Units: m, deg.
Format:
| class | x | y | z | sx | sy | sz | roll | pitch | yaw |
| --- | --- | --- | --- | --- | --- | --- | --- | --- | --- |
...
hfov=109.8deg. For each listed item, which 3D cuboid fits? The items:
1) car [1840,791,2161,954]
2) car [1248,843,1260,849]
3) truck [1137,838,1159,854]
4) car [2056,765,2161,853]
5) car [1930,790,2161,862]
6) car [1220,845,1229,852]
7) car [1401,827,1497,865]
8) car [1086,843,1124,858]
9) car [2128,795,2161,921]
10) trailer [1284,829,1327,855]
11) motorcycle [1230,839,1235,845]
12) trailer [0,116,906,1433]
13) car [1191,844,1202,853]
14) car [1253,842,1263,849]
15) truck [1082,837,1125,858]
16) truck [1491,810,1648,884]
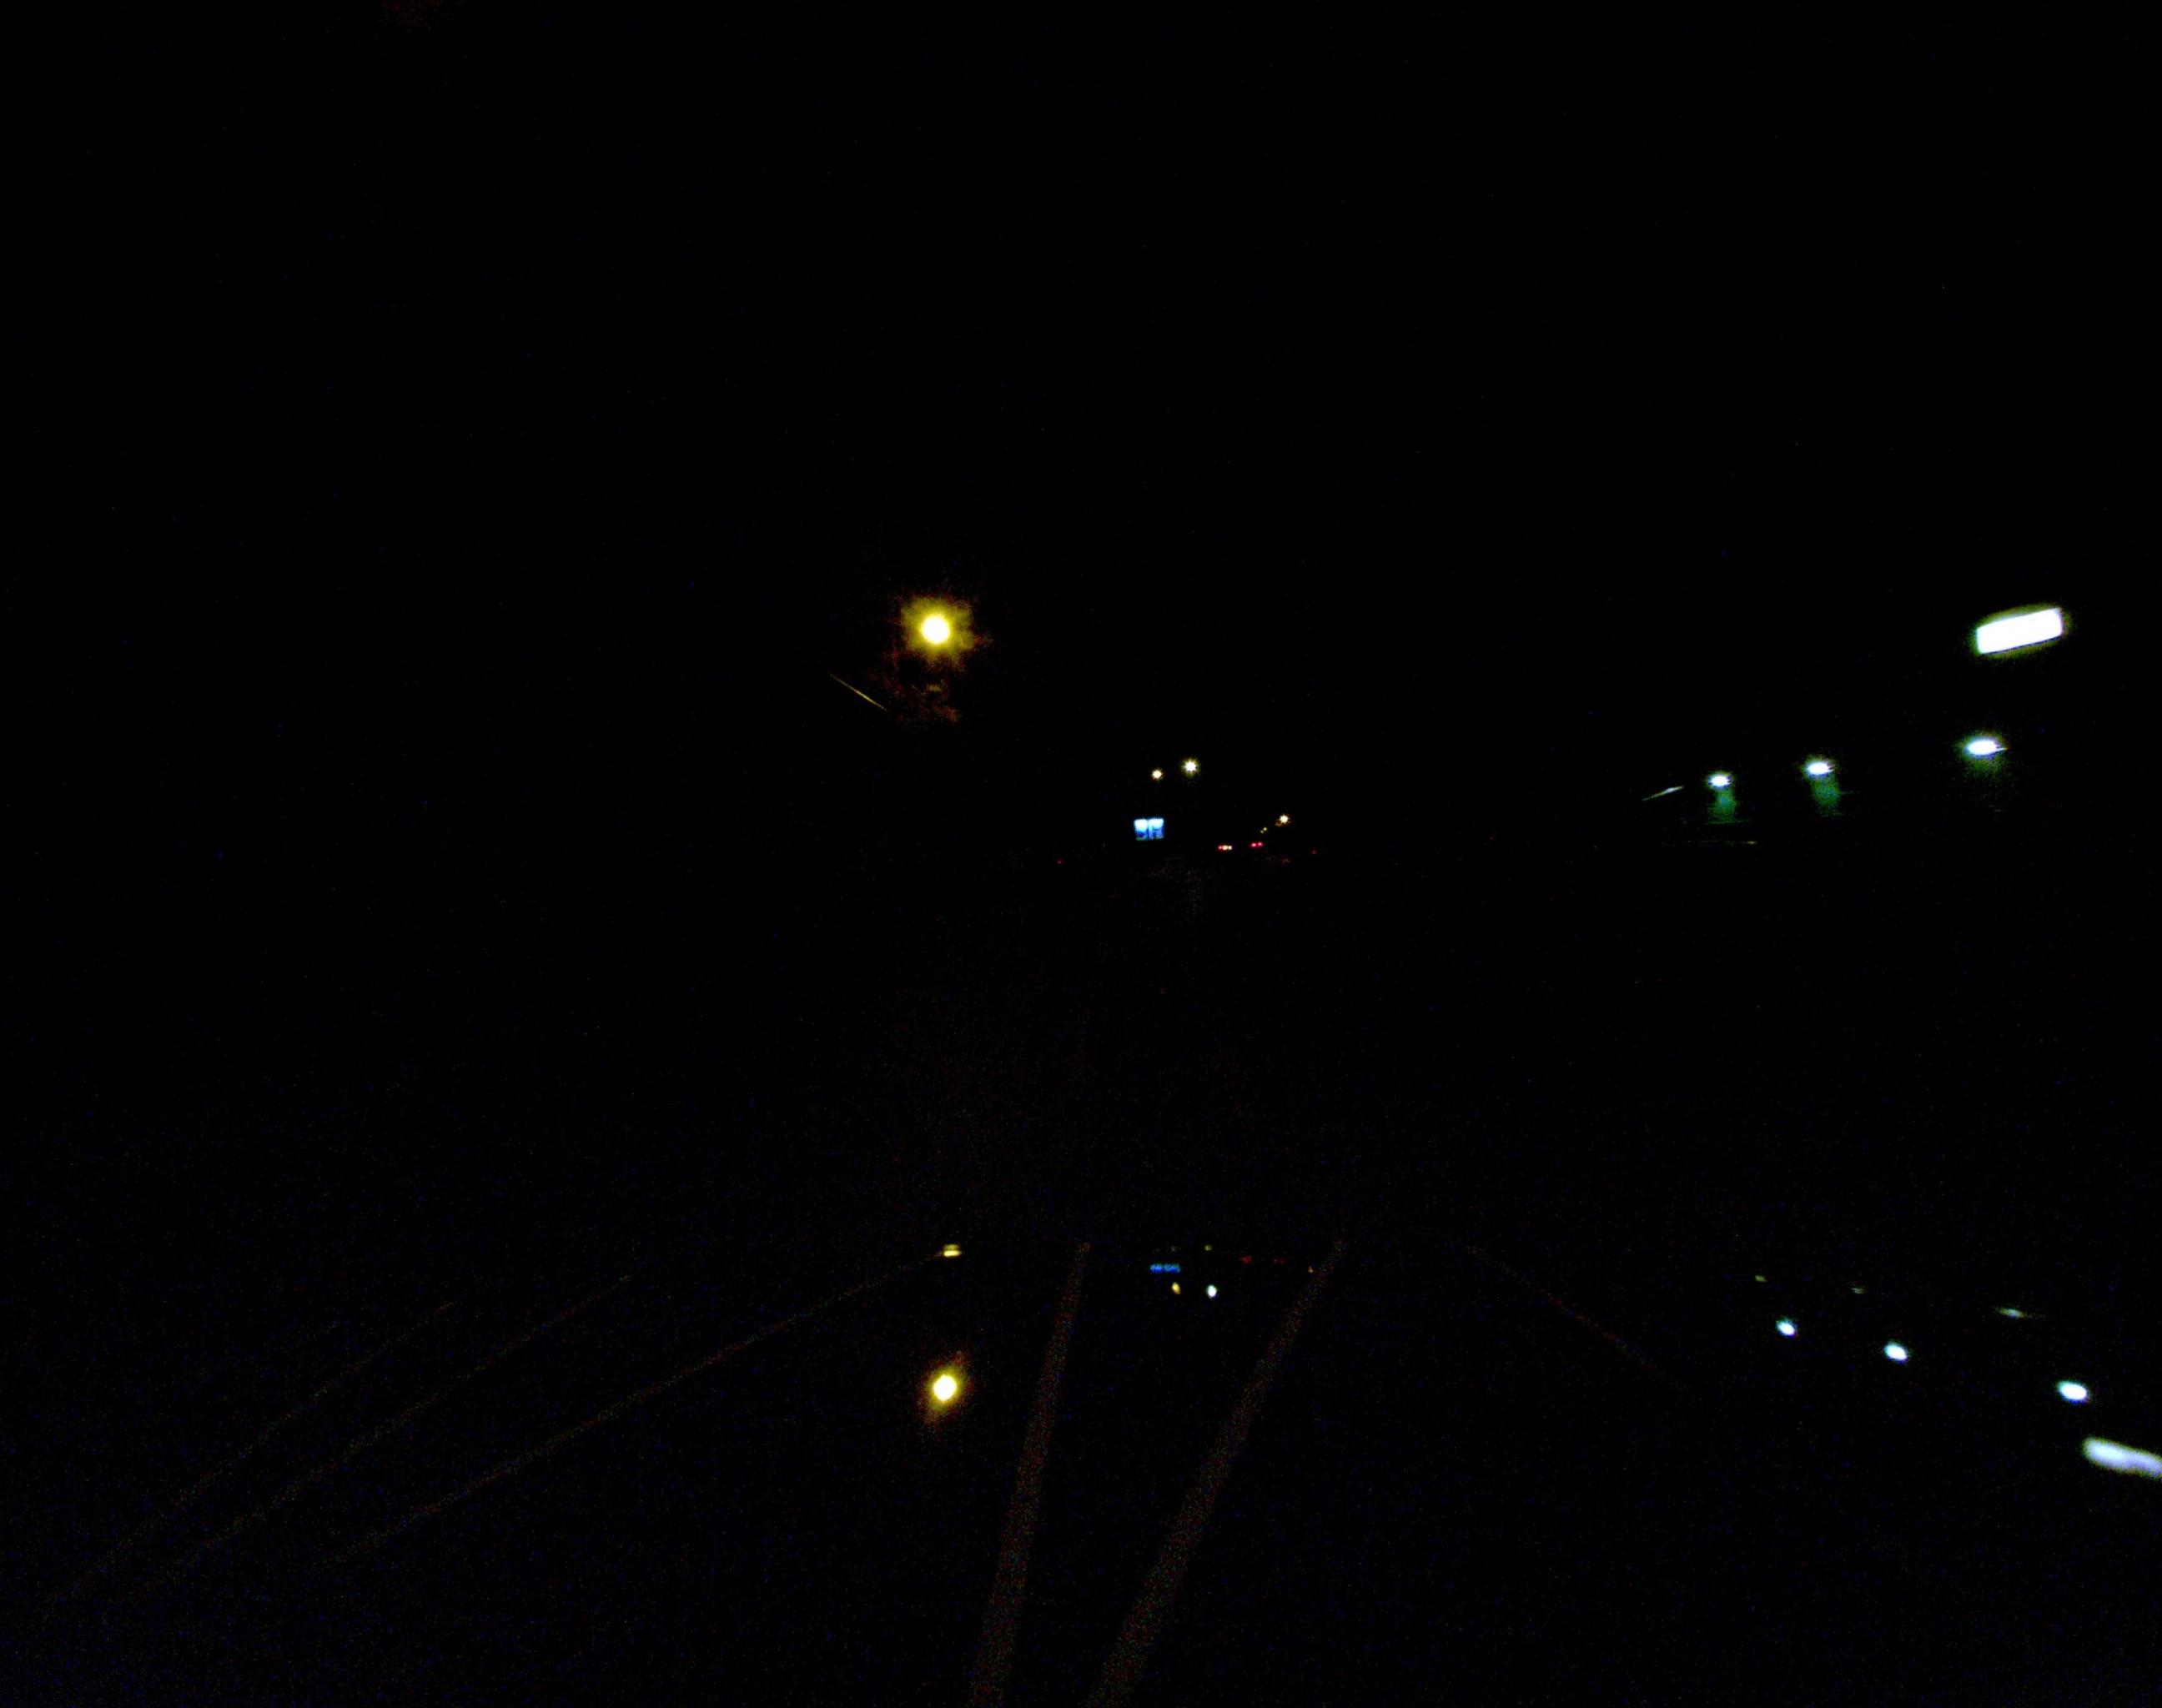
| class | x | y | z | sx | sy | sz | roll | pitch | yaw |
| --- | --- | --- | --- | --- | --- | --- | --- | --- | --- |
| car | 10.645 | 0.122 | 7.239 | 1.834 | 1.485 | 4.524 | -3 | 0 | -11 |
| car | 38.077 | -1.770 | 167.215 | 1.998 | 1.371 | 4.599 | -3 | 0 | 5 |
| truck | 10.919 | -1.333 | 122.981 | 2.381 | 2.270 | 7.750 | -3 | 1 | 13 |
| car | 25.685 | -1.088 | 16.802 | 1.999 | 2.002 | 4.686 | -4 | 0 | -5 |
| car | 23.063 | -0.636 | 17.448 | 1.846 | 1.455 | 4.616 | -4 | 0 | -1 |
| car | 38.629 | -1.513 | 204.034 | 1.997 | 1.617 | 4.756 | -3 | 1 | 13 |
| car | 19.537 | -0.423 | 40.493 | 4.135 | 1.762 | 2.000 | -3 | 1 | 5 |
| car | 3.484 | -0.541 | 109.558 | 5.080 | 1.826 | 1.991 | -3 | 1 | 17 |
| car | 13.965 | -0.034 | 7.111 | 1.834 | 1.485 | 4.525 | -3 | 0 | -9 |
| trailer | 24.436 | -1.260 | 82.857 | 4.355 | 2.704 | 2.002 | -1 | 1 | 13 |
| motorcycle | 36.319 | -2.910 | 182.502 | 0.999 | 1.297 | 2.828 | -3 | 1 | 8 |
| trailer | -4.531 | -0.246 | 5.046 | 2.815 | 3.960 | 13.975 | -2 | 0 | 2 |
| car | 22.378 | -1.117 | 147.252 | 1.938 | 1.543 | 4.002 | -4 | 0 | 7 |
| car | 37.412 | -1.865 | 161.008 | 1.852 | 1.436 | 4.919 | -3 | 0 | 11 |
| truck | 3.234 | -0.867 | 107.018 | 5.539 | 2.585 | 2.474 | -3 | 1 | 13 |
| truck | 14.584 | -0.222 | 23.127 | 1.997 | 1.889 | 5.320 | -4 | 0 | 9 |
